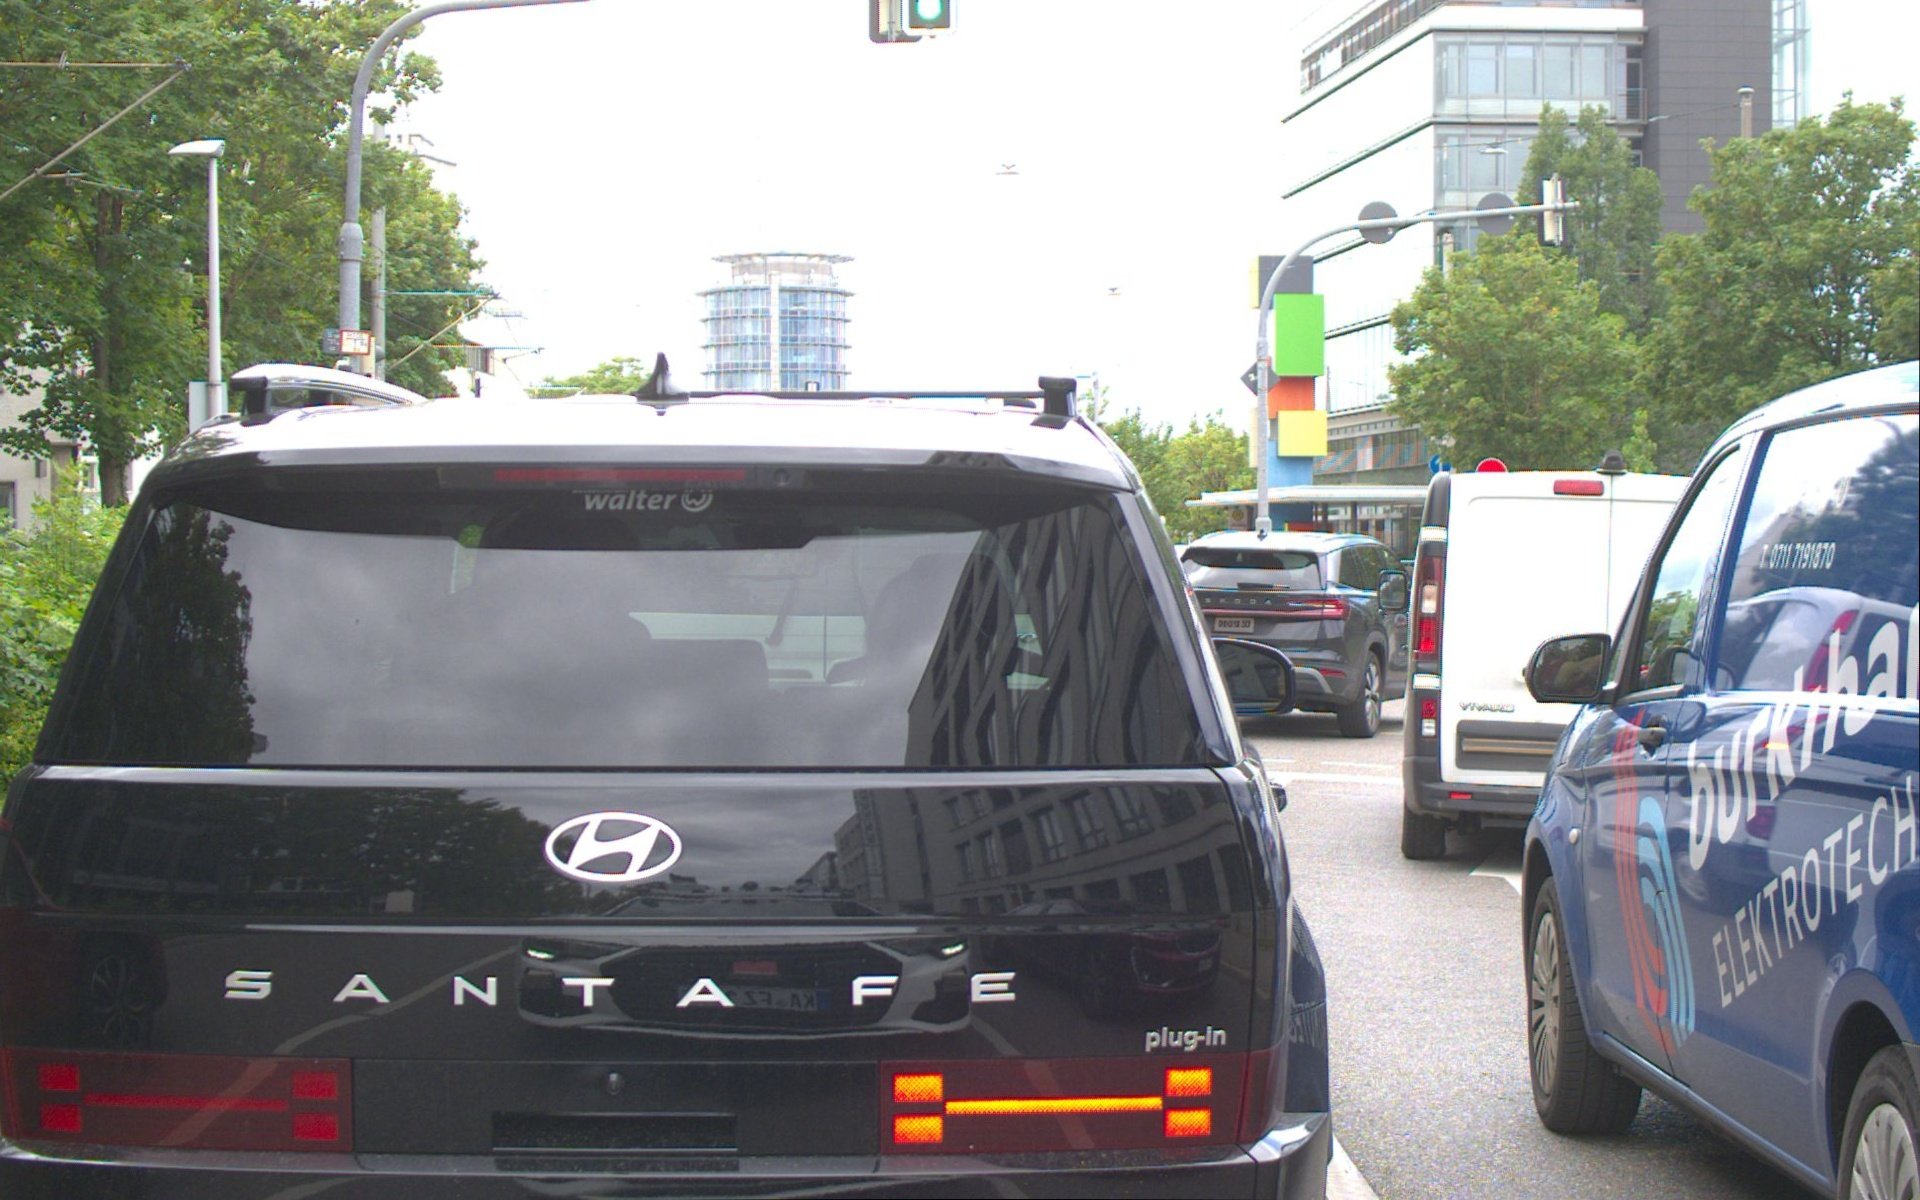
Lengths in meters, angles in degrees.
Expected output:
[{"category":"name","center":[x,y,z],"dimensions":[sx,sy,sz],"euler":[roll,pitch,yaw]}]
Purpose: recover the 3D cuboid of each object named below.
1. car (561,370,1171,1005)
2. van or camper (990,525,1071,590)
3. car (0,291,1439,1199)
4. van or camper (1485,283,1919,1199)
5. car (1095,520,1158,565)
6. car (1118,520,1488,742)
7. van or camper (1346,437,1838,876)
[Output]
[{"category":"car","center":[-0.317,0.243,12.770],"dimensions":[1.915,1.996,3.880],"euler":[0,1,-1]},{"category":"van or camper","center":[2.864,-1.674,137.062],"dimensions":[1.994,2.538,6.575],"euler":[1,0,12]},{"category":"car","center":[-0.407,0.495,5.858],"dimensions":[1.869,1.754,3.880],"euler":[0,1,-1]},{"category":"van or camper","center":[2.407,0.428,6.989],"dimensions":[1.859,1.904,5.032],"euler":[0,1,-1]},{"category":"car","center":[6.310,-2.176,130.885],"dimensions":[1.993,1.678,4.000],"euler":[0,0,-3]},{"category":"car","center":[2.969,0.223,28.921],"dimensions":[1.778,1.711,4.333],"euler":[1,0,25]},{"category":"van or camper","center":[3.175,0.221,18.209],"dimensions":[1.994,2.007,4.652],"euler":[1,1,4]}]
